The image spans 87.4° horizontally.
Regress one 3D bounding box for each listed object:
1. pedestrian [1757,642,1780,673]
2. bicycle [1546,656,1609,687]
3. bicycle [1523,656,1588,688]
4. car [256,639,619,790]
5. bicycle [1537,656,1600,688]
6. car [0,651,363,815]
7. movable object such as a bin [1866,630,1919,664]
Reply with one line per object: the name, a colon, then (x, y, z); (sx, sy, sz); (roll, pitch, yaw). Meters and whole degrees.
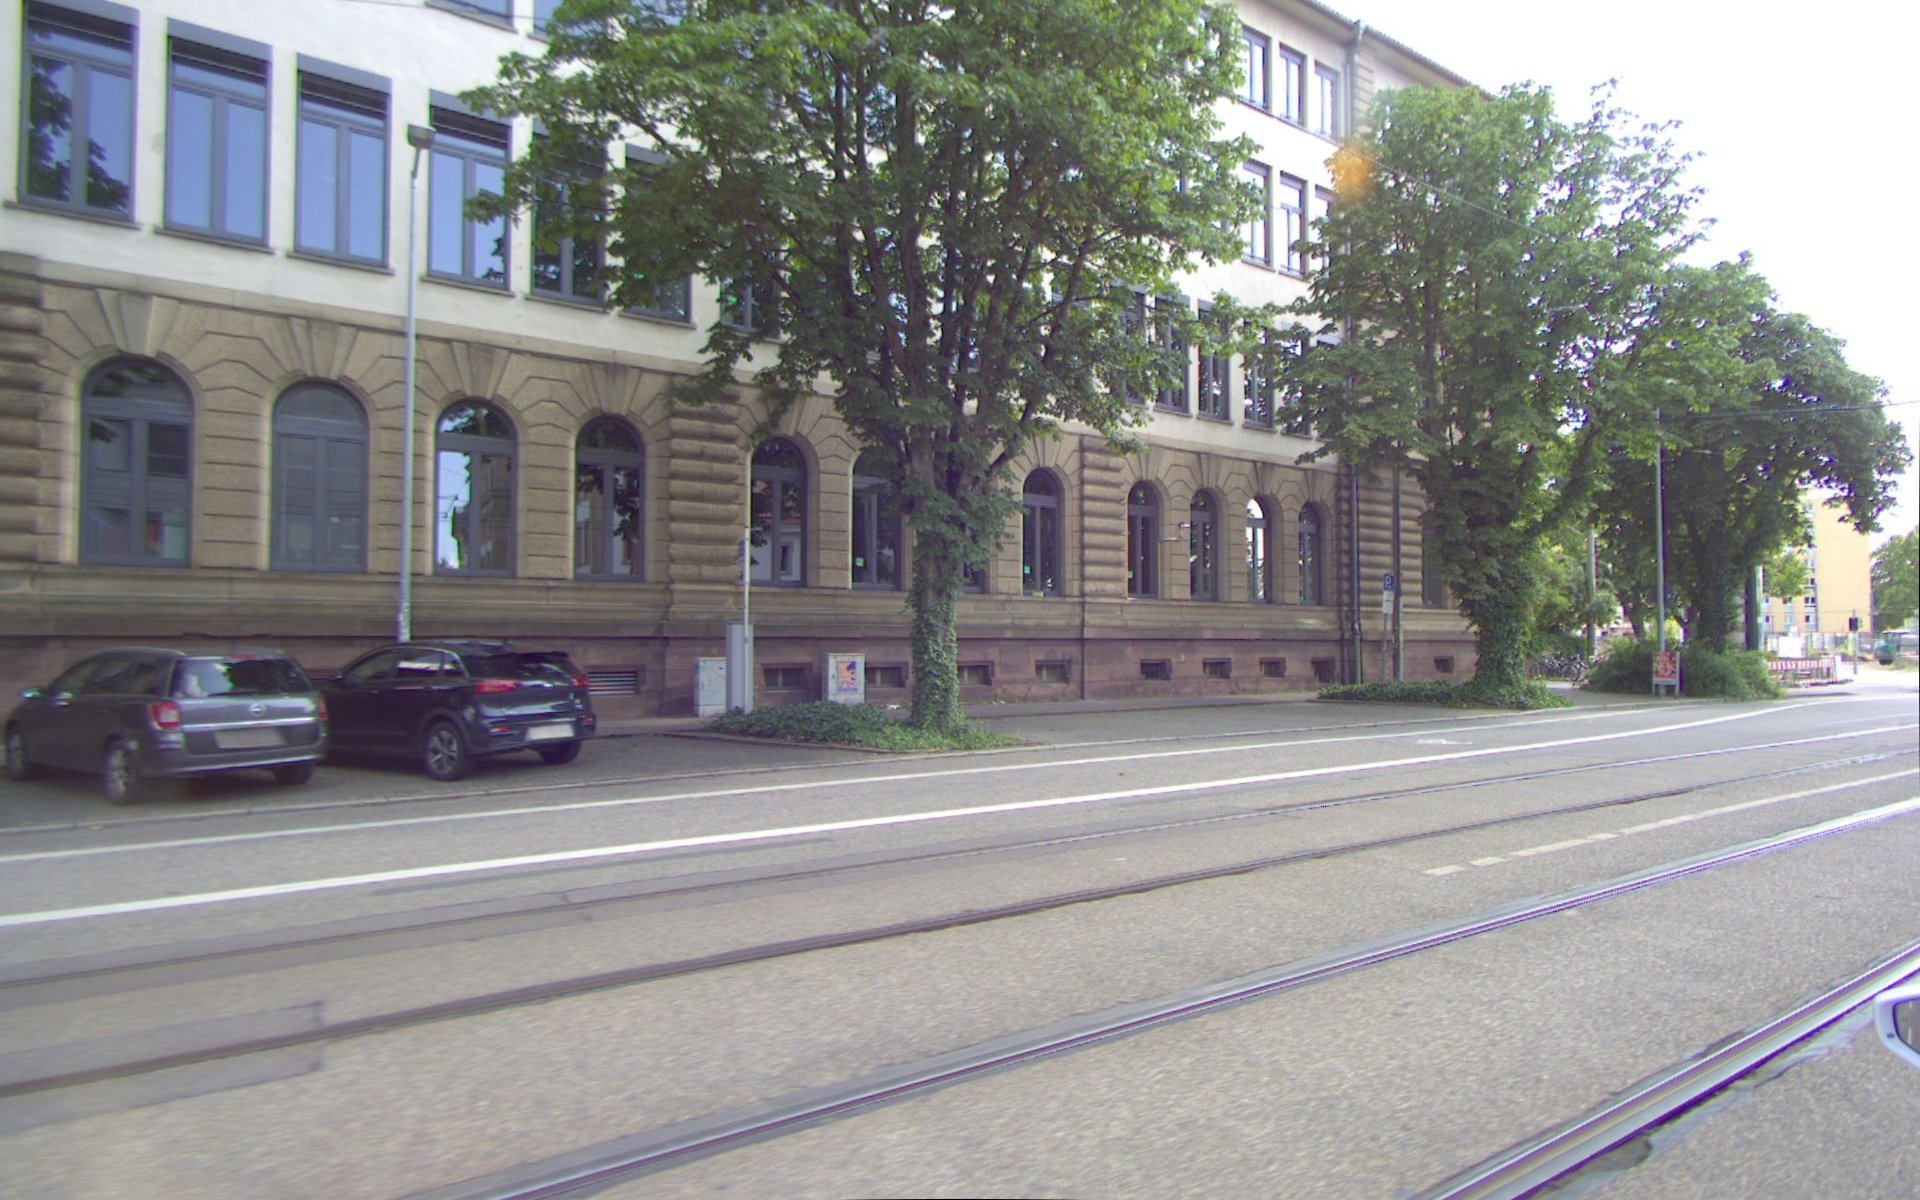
pedestrian: (44.105, 3.128, 54.772); (0.573, 1.673, 0.784); (1, -3, -29)
bicycle: (25.325, 2.928, 41.230); (0.723, 1.183, 2.101); (2, -2, -34)
bicycle: (23.675, 2.860, 39.965); (0.723, 1.183, 2.101); (2, -2, -34)
car: (-6.539, 1.297, 12.560); (4.162, 1.571, 1.925); (0, -2, 26)
bicycle: (24.621, 2.899, 40.686); (0.723, 1.183, 2.101); (2, -2, -34)
car: (-8.592, 1.300, 10.931); (4.166, 1.466, 1.791); (-2, -3, 30)
movable object such as a bin: (73.951, 3.730, 79.254); (3.954, 2.608, 2.629); (2, -3, -31)
